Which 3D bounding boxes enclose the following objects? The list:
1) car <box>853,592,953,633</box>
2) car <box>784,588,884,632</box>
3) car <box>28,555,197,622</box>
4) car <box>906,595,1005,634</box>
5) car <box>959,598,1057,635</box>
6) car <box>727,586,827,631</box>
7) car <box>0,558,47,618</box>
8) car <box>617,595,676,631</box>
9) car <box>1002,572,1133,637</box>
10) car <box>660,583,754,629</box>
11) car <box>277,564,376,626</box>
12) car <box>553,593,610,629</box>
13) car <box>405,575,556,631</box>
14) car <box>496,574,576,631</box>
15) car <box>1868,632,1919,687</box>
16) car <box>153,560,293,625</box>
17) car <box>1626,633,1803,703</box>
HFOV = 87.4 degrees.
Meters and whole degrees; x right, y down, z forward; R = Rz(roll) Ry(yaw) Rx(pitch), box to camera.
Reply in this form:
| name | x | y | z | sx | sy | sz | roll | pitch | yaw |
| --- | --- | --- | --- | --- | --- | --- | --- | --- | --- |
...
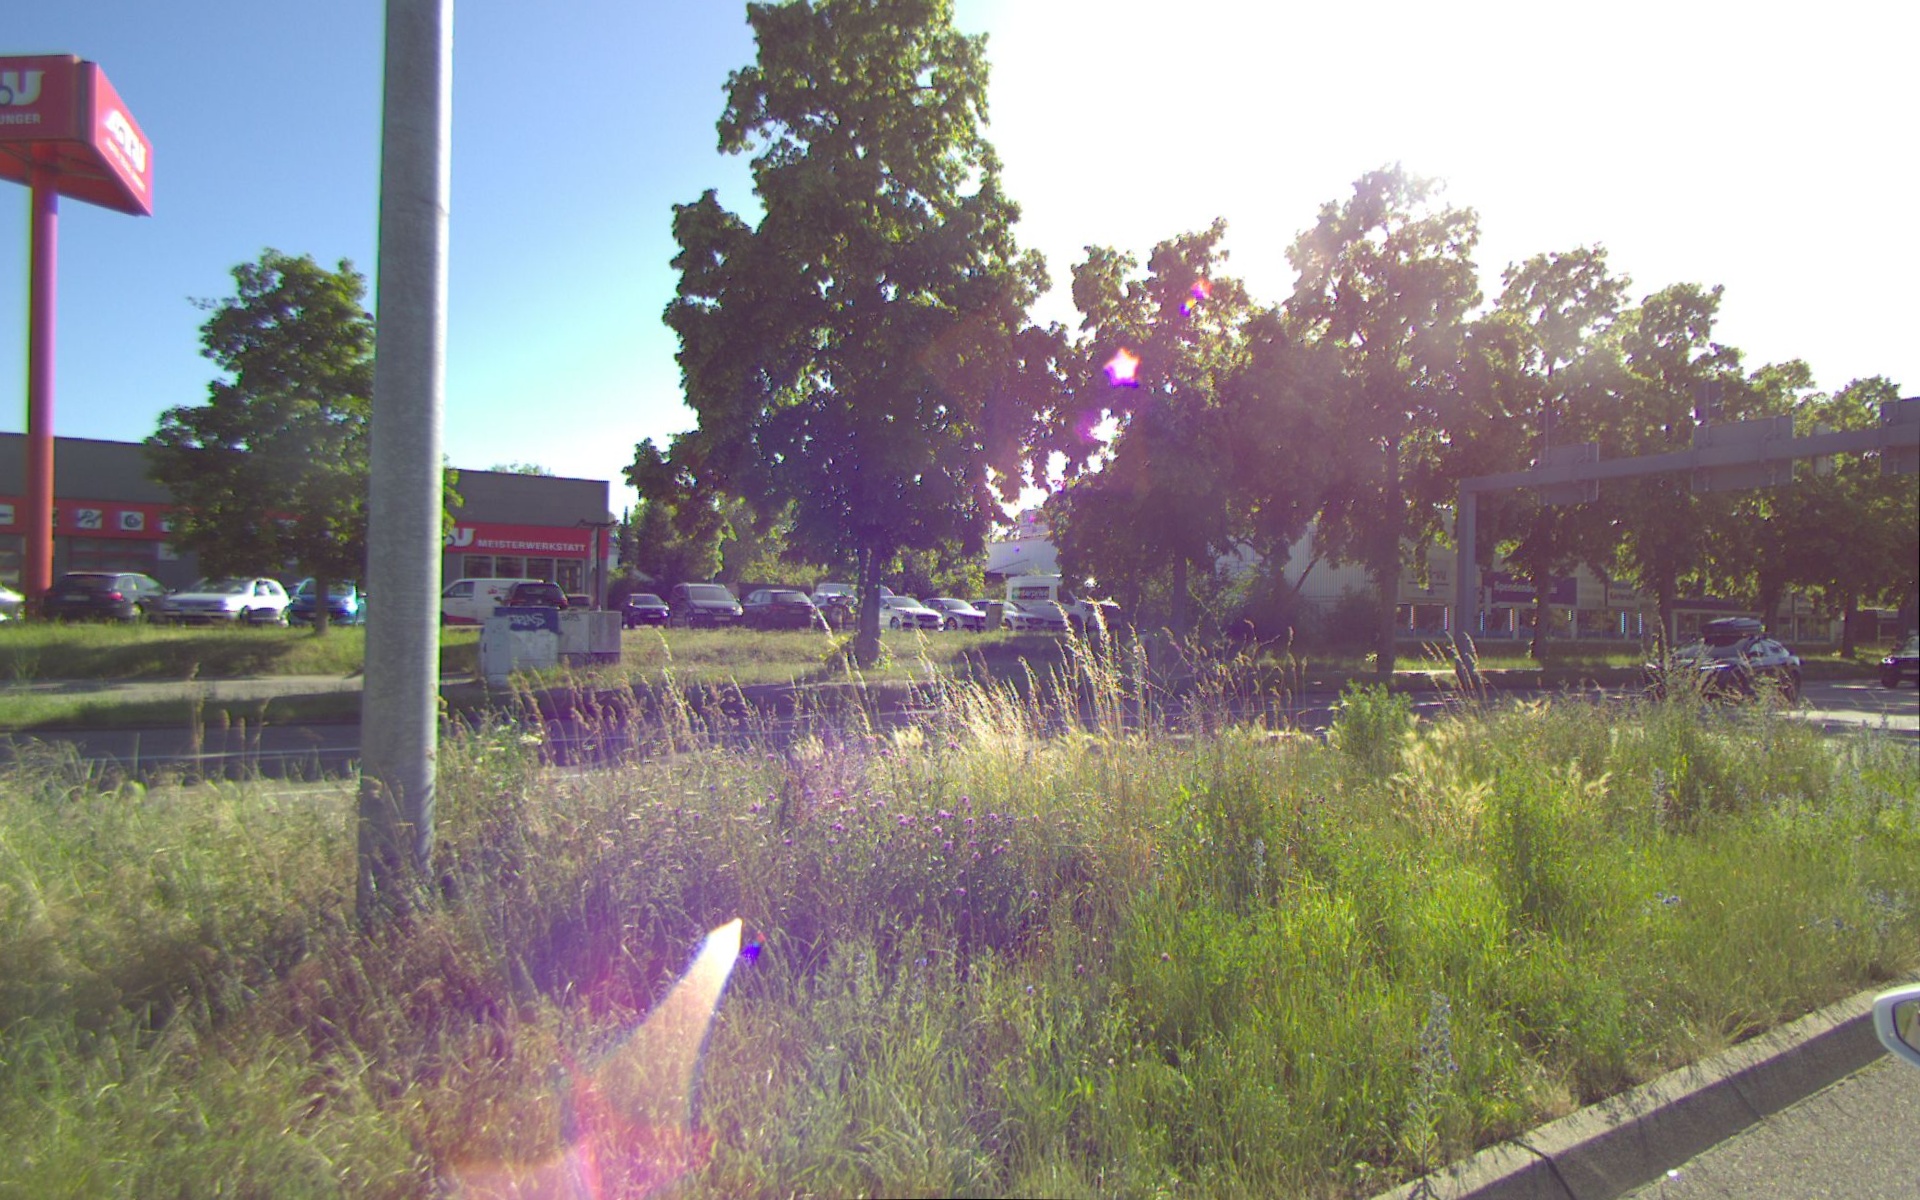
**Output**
| name | x | y | z | sx | sy | sz | roll | pitch | yaw |
| --- | --- | --- | --- | --- | --- | --- | --- | --- | --- |
| car | -2.171 | 0.483 | 37.016 | 1.926 | 1.407 | 4.094 | 2 | -1 | -33 |
| car | -4.545 | 0.370 | 35.627 | 1.923 | 1.407 | 4.599 | 1 | -1 | -29 |
| car | -22.101 | -0.237 | 26.416 | 1.865 | 1.572 | 4.117 | 1 | -1 | -17 |
| car | -0.245 | 0.568 | 38.738 | 1.926 | 1.407 | 4.094 | 2 | -1 | -33 |
| car | 1.860 | 0.657 | 40.257 | 1.926 | 1.407 | 4.094 | 2 | -1 | -33 |
| car | -6.275 | 0.301 | 34.088 | 1.926 | 1.407 | 4.094 | 2 | -1 | -33 |
| car | -25.812 | -0.344 | 25.472 | 1.860 | 1.572 | 4.127 | 1 | -1 | -8 |
| car | -14.057 | 0.588 | 44.919 | 1.871 | 1.474 | 4.103 | 1 | -1 | -27 |
| car | 4.287 | 0.208 | 41.194 | 2.183 | 2.465 | 5.843 | 1 | -1 | -33 |
| car | -8.458 | 0.212 | 33.345 | 1.924 | 1.407 | 4.098 | 1 | -1 | -30 |
| car | -17.731 | -0.091 | 28.285 | 1.794 | 1.572 | 4.106 | 1 | -1 | -25 |
| car | -16.591 | 0.485 | 43.928 | 1.871 | 1.474 | 4.103 | 1 | -1 | -27 |
| car | -18.204 | 0.150 | 38.284 | 5.063 | 1.982 | 1.773 | 1 | -1 | -27 |
| car | -12.733 | 0.111 | 30.063 | 1.921 | 1.572 | 4.103 | 1 | -1 | -27 |
| car | 32.021 | 1.922 | 33.008 | 4.576 | 1.719 | 1.933 | 1 | -2 | -31 |
| car | -19.843 | -0.147 | 27.254 | 1.866 | 1.572 | 4.114 | 1 | -1 | -19 |
| car | 18.583 | 1.628 | 24.690 | 4.518 | 1.563 | 1.868 | 2 | -3 | -30 |
